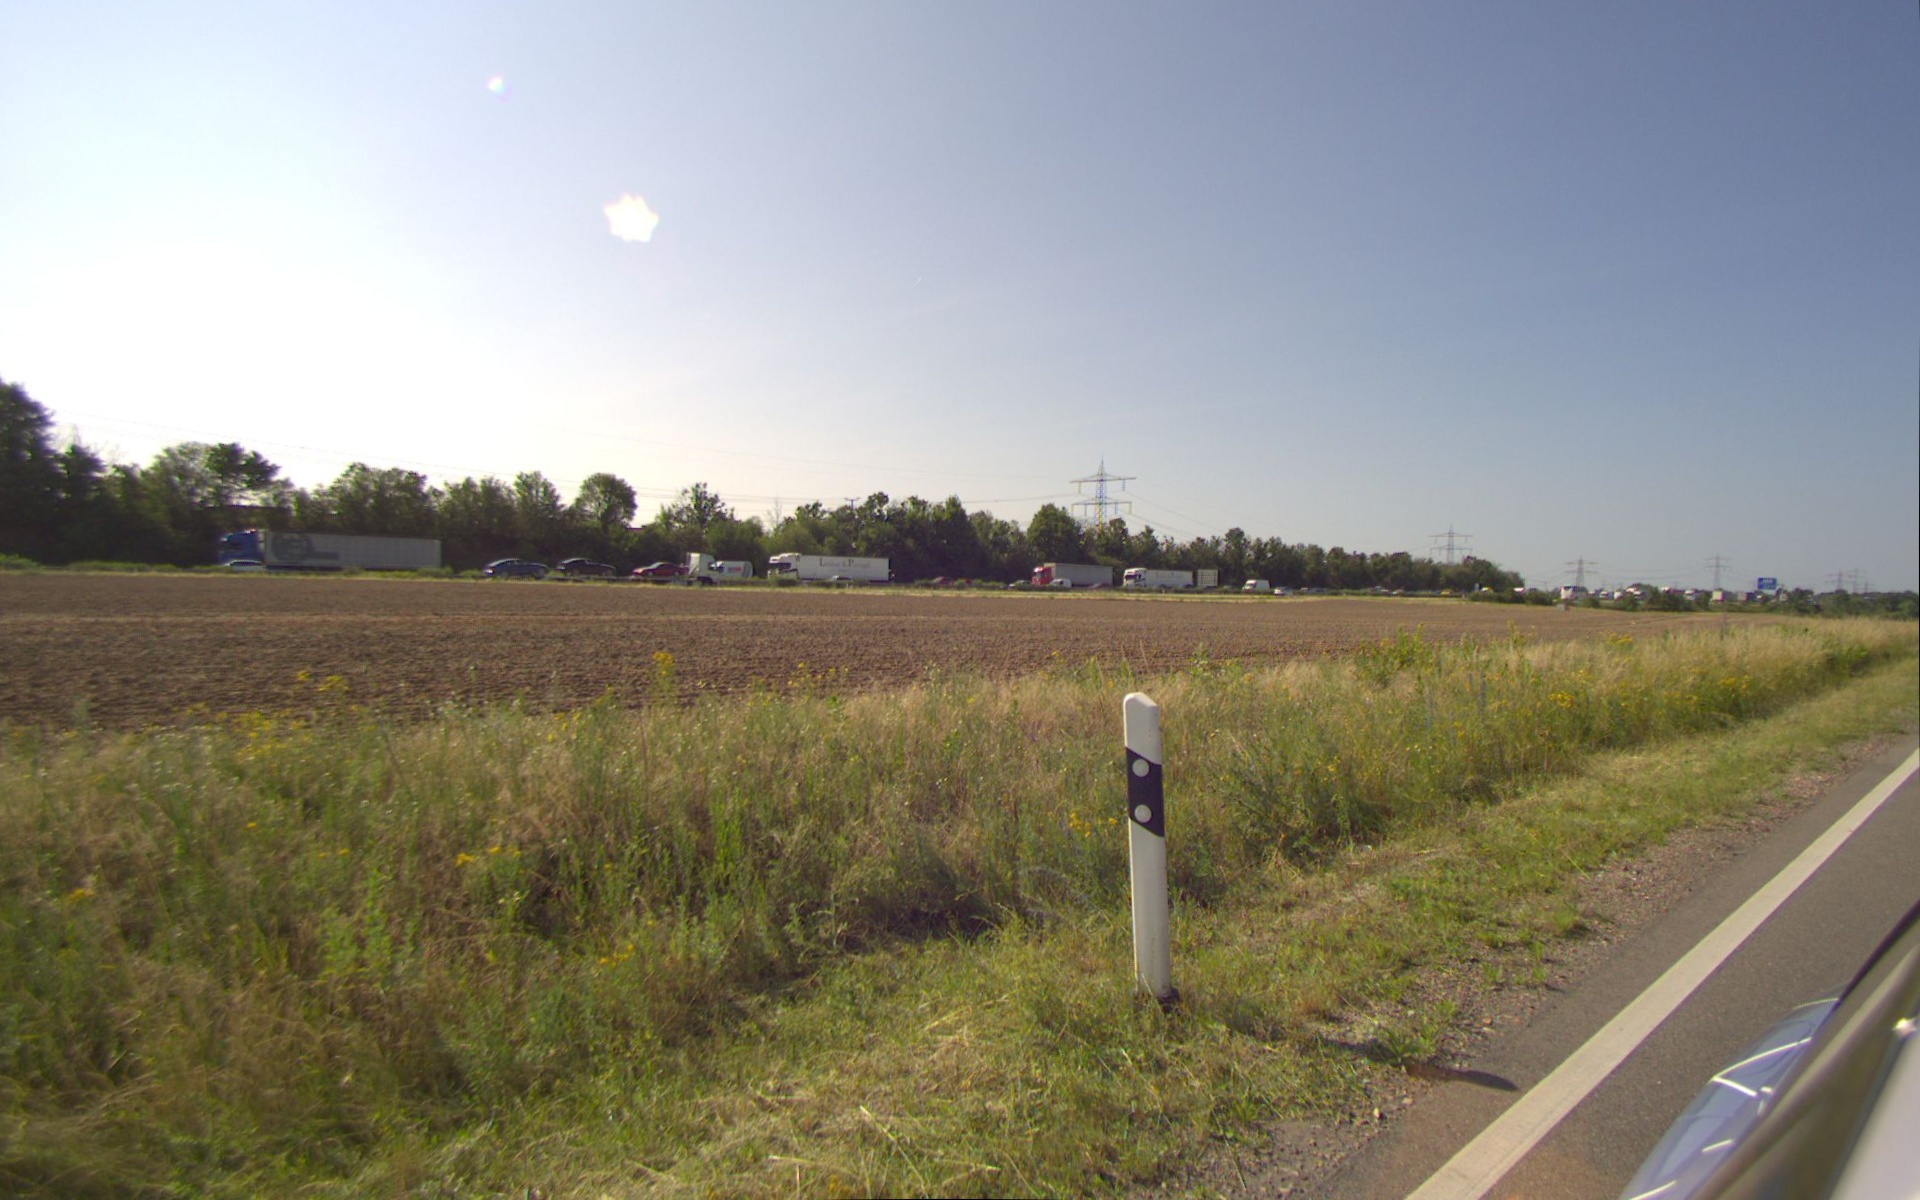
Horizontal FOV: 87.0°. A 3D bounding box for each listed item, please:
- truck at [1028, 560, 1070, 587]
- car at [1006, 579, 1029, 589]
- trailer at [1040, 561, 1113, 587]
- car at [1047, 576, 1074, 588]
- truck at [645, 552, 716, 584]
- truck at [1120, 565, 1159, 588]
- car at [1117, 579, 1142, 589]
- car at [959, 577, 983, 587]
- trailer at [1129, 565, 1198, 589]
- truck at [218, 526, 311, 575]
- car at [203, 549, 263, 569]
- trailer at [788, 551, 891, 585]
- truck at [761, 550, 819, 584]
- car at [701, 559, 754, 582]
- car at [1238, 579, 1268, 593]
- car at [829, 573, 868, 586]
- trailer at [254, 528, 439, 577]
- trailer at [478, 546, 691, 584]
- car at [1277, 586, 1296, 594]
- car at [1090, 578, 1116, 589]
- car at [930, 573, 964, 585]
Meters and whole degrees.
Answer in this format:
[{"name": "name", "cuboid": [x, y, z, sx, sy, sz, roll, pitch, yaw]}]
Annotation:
[{"name": "truck", "cuboid": [13.224, -3.914, 150.198, 5.770, 3.780, 2.949, 0, 1, -43]}, {"name": "car", "cuboid": [7.807, -2.217, 137.589, 1.341, 1.300, 3.238, 0, 0, 45]}, {"name": "trailer", "cuboid": [17.957, -3.907, 154.605, 13.549, 3.780, 2.949, 0, 1, -43]}, {"name": "car", "cuboid": [14.163, -2.548, 142.516, 4.025, 1.659, 1.704, 0, 0, -44]}, {"name": "truck", "cuboid": [-24.532, -2.797, 88.796, 5.444, 2.562, 2.515, 1, 2, -44]}, {"name": "truck", "cuboid": [29.271, -3.829, 164.607, 6.006, 3.574, 3.207, 0, 2, -43]}, {"name": "car", "cuboid": [25.681, -2.380, 153.302, 4.025, 1.528, 1.705, 0, 0, -43]}, {"name": "car", "cuboid": [1.544, -2.451, 138.397, 3.237, 1.234, 1.341, 0, 0, -44]}, {"name": "trailer", "cuboid": [34.221, -3.804, 169.340, 14.830, 3.574, 3.206, 0, 2, -44]}, {"name": "truck", "cuboid": [-57.654, -4.005, 83.937, 5.982, 3.780, 3.077, 0, 1, -42]}, {"name": "car", "cuboid": [-54.975, -3.079, 76.540, 3.542, 1.403, 1.493, 1, 0, -43]}, {"name": "trailer", "cuboid": [-14.628, -3.838, 123.845, 13.136, 3.780, 3.076, 0, 1, -42]}, {"name": "truck", "cuboid": [-19.934, -3.856, 119.046, 6.012, 3.780, 3.077, 0, 1, -42]}, {"name": "car", "cuboid": [-24.299, -3.074, 105.924, 5.149, 2.228, 1.907, 1, 0, -43]}, {"name": "car", "cuboid": [51.924, -2.479, 179.235, 6.303, 2.478, 2.040, 0, 1, -42]}, {"name": "car", "cuboid": [-12.979, -2.405, 117.991, 4.176, 1.403, 1.852, 1, 0, -43]}, {"name": "trailer", "cuboid": [-53.086, -4.015, 88.071, 13.395, 3.780, 3.076, 0, 1, -42]}, {"name": "trailer", "cuboid": [-30.345, -2.816, 83.113, 16.802, 2.562, 2.515, 0, 2, -44]}, {"name": "car", "cuboid": [54.507, -1.730, 168.822, 3.558, 1.250, 1.547, 1, -2, -43]}, {"name": "car", "cuboid": [21.074, -2.392, 148.802, 4.025, 1.528, 1.705, 0, 0, -43]}, {"name": "car", "cuboid": [-1.580, -2.612, 128.335, 4.176, 1.403, 1.852, 1, 0, -43]}]
